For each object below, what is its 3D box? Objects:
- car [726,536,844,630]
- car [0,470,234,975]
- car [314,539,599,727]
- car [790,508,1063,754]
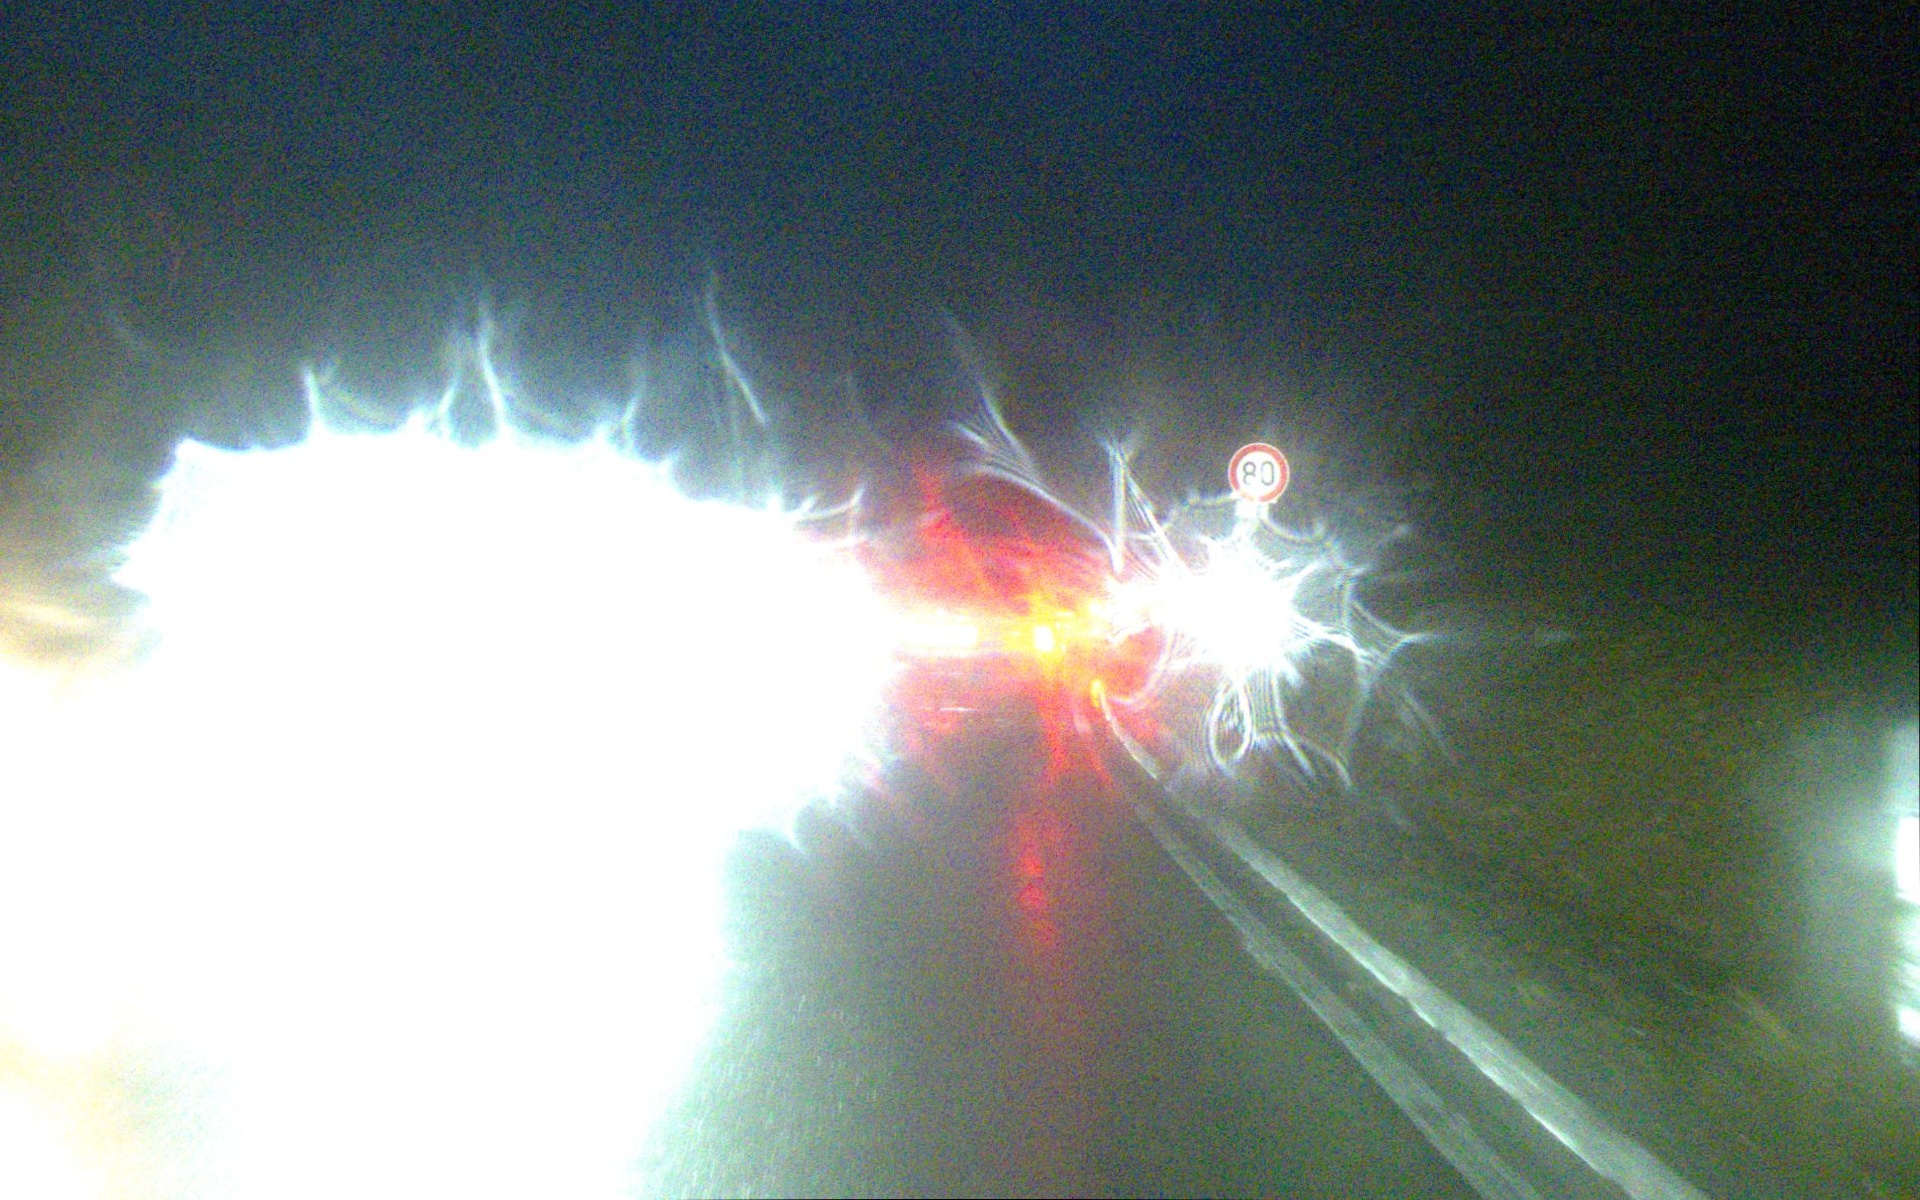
[{"bbox_3d":[-3.038,-0.327,60.305,1.765,1.537,4.148,1,1,1],"label":"car"},{"bbox_3d":[-3.799,0.344,12.330,1.662,1.555,3.561,-1,1,-1],"label":"car"},{"bbox_3d":[-4.275,0.224,29.821,1.755,1.401,4.487,2,2,0],"label":"car"},{"bbox_3d":[-0.239,0.203,27.269,1.993,1.801,3.917,-1,1,0],"label":"car"}]
